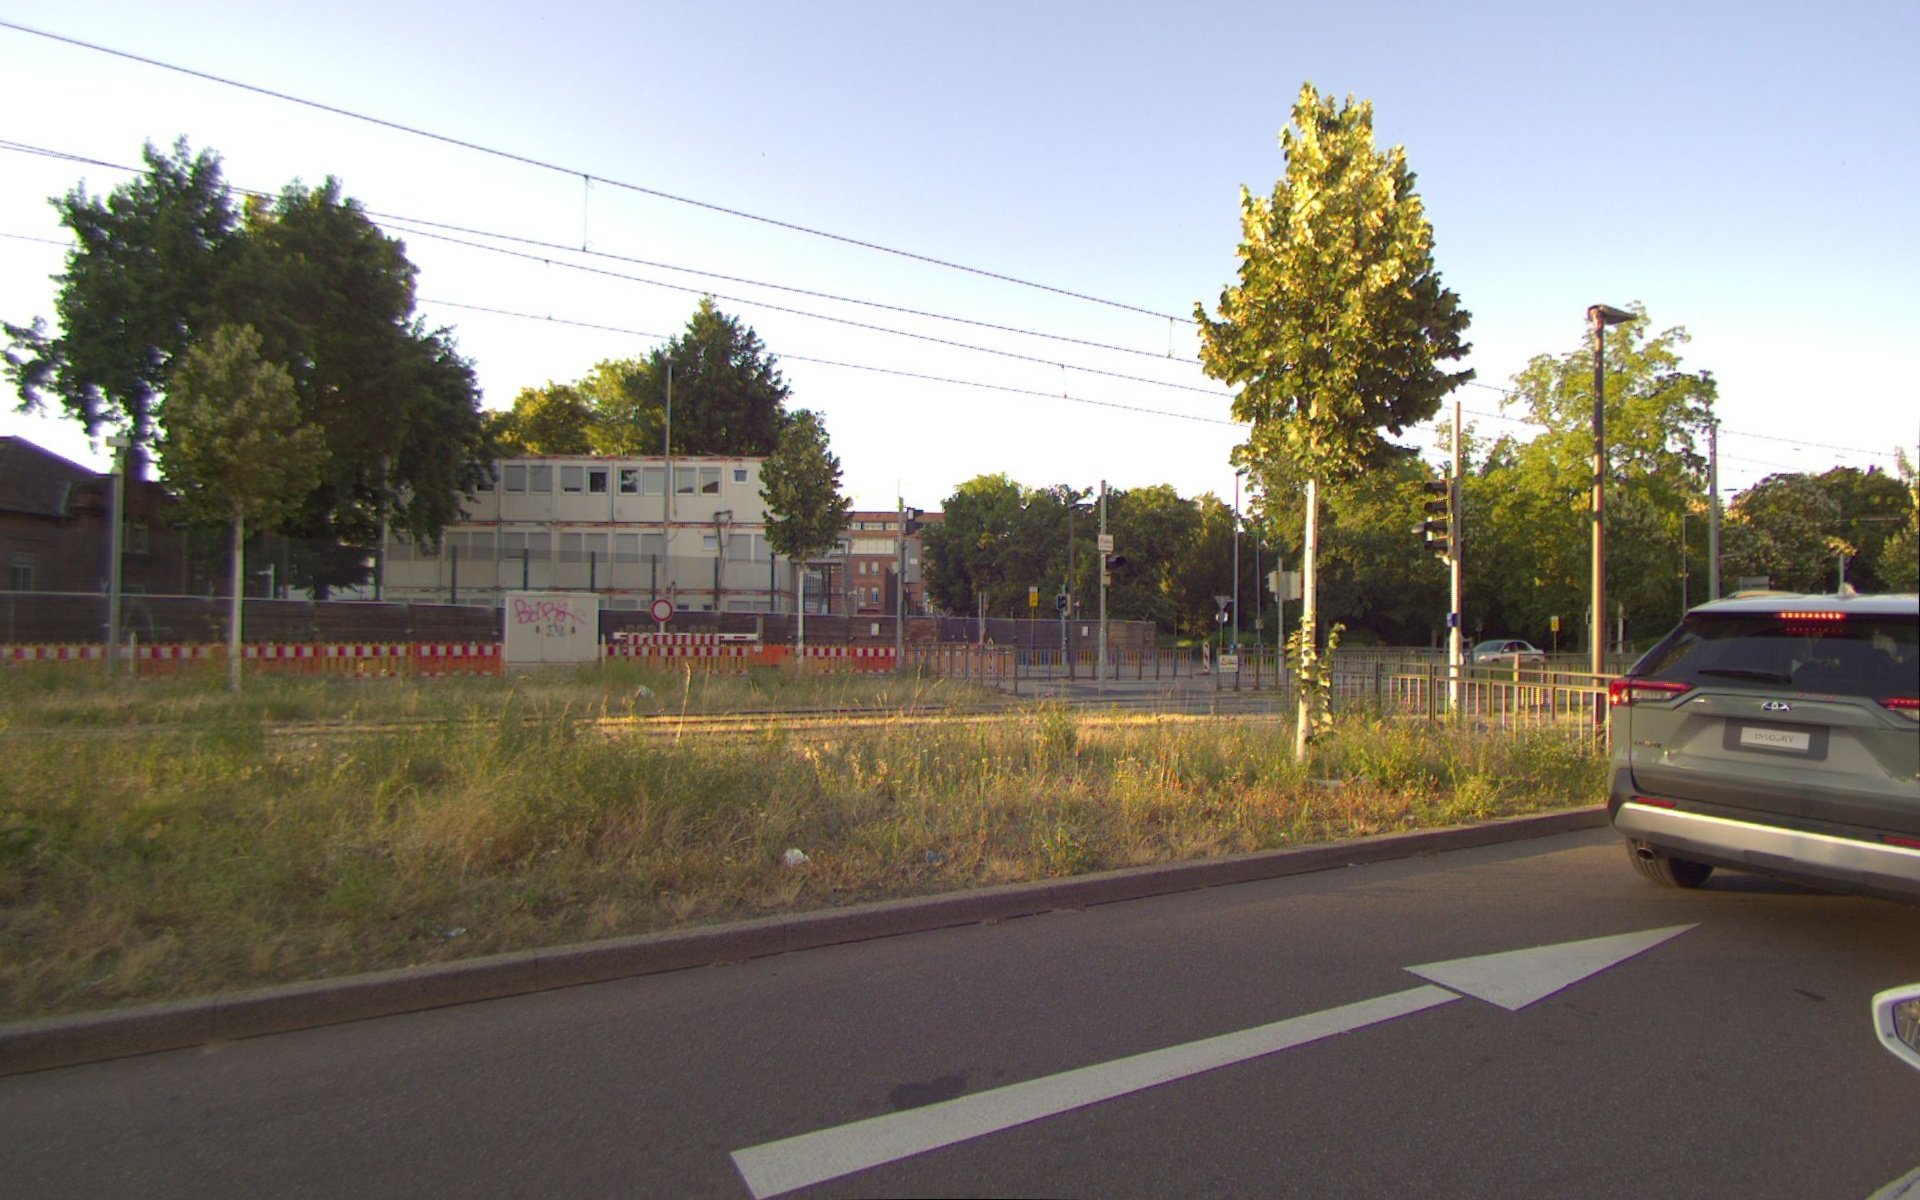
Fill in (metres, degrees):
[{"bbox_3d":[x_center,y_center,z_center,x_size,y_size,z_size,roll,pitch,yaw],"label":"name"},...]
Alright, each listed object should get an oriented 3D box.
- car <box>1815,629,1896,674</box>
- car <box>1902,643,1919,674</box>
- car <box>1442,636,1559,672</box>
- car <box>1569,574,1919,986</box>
[{"bbox_3d":[47.775,2.696,53.574,4.697,2.197,1.983,0,0,-32],"label":"car"},{"bbox_3d":[58.318,3.484,59.898,4.696,1.768,1.983,0,0,-31],"label":"car"},{"bbox_3d":[24.137,2.381,44.893,4.444,1.501,1.995,0,0,-13],"label":"car"},{"bbox_3d":[5.469,0.743,5.611,4.220,1.681,1.845,0,0,-32],"label":"car"}]
